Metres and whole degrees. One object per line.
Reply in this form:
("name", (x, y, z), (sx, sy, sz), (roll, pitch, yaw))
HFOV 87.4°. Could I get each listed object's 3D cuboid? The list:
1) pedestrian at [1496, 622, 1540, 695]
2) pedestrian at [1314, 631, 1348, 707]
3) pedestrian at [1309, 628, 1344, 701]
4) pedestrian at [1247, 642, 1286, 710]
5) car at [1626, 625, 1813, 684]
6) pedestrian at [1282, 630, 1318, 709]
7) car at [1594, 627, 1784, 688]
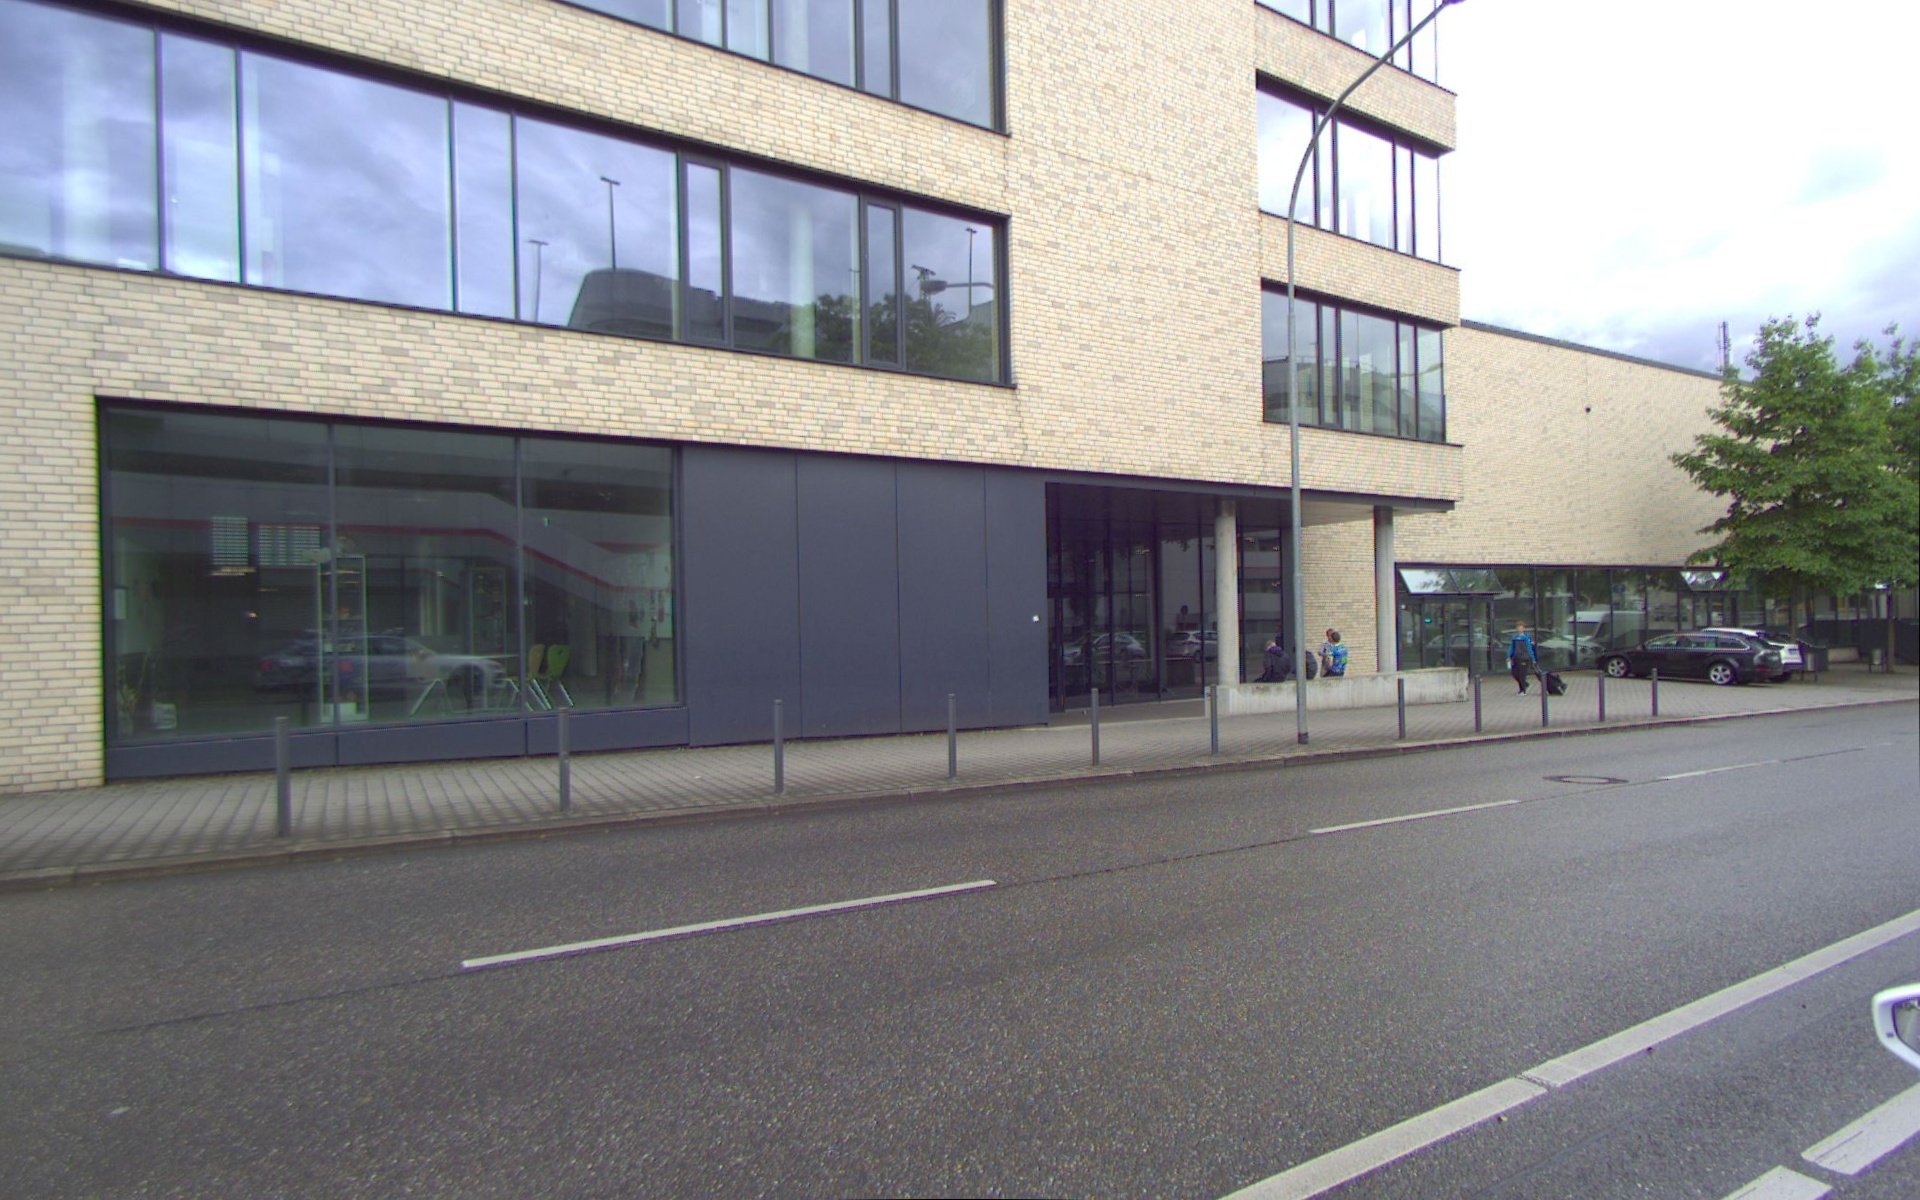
("pedestrian", (13.560, 1.412, 24.417), (0.696, 1.737, 0.632), (2, 0, -27))
("pedestrian", (7.486, 1.379, 20.268), (0.459, 1.495, 0.446), (2, 0, -35))
("pedestrian", (7.695, 1.339, 21.069), (0.523, 1.495, 0.438), (2, 0, -35))
("pedestrian", (5.790, 1.430, 18.997), (0.416, 1.231, 0.546), (2, 0, -27))
("car", (23.359, 1.635, 31.047), (1.975, 1.568, 4.159), (2, 0, -28))
("pedestrian", (6.607, 1.346, 19.523), (0.459, 1.495, 0.446), (2, 0, -35))
("car", (21.481, 1.640, 29.738), (1.981, 1.515, 4.147), (2, 0, -36))
